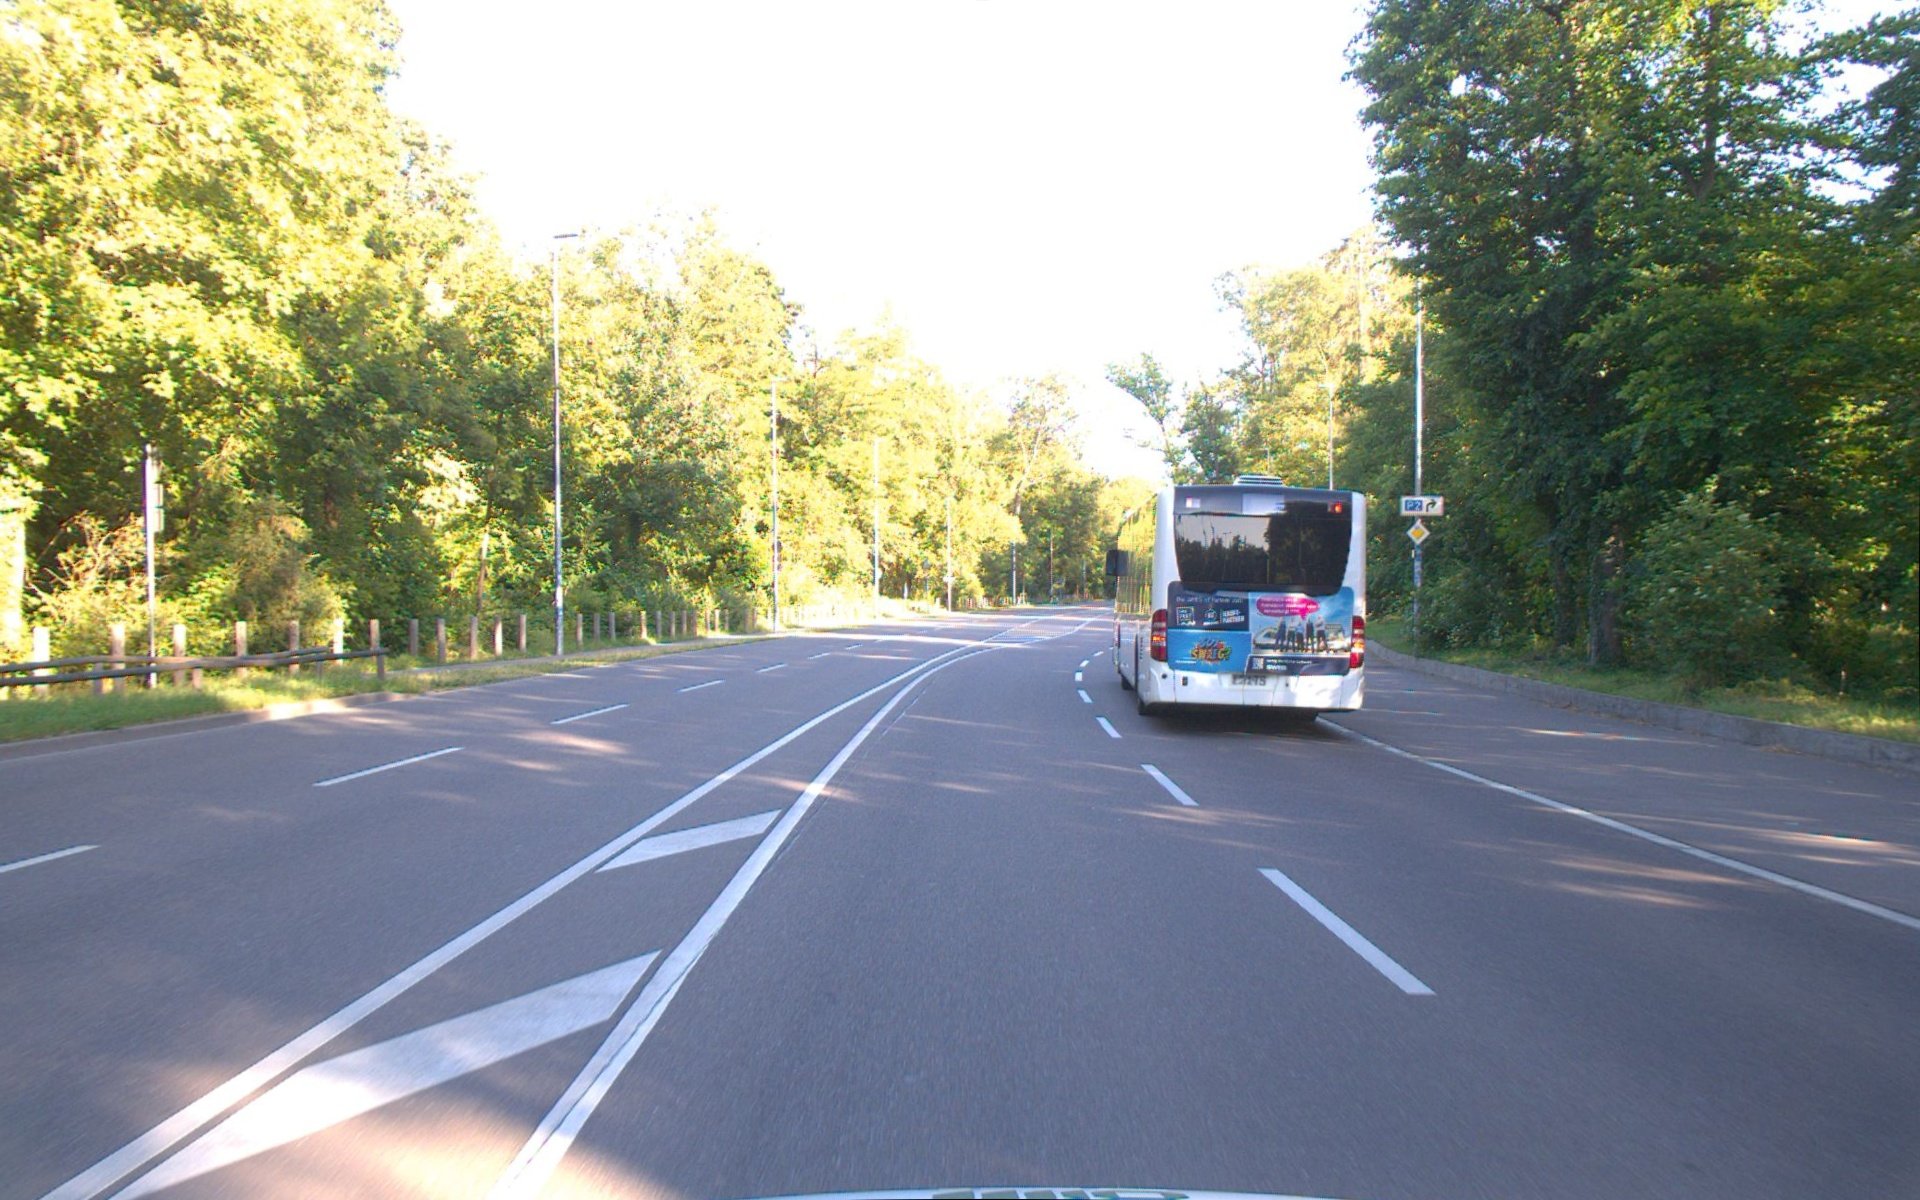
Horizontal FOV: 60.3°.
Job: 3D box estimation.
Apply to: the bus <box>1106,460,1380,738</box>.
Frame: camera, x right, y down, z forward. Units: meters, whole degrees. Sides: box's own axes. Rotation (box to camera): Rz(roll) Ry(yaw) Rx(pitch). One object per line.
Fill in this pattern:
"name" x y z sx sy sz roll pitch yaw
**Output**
"bus" 3.735 -0.002 24.744 2.633 3.096 12.046 1 0 3
